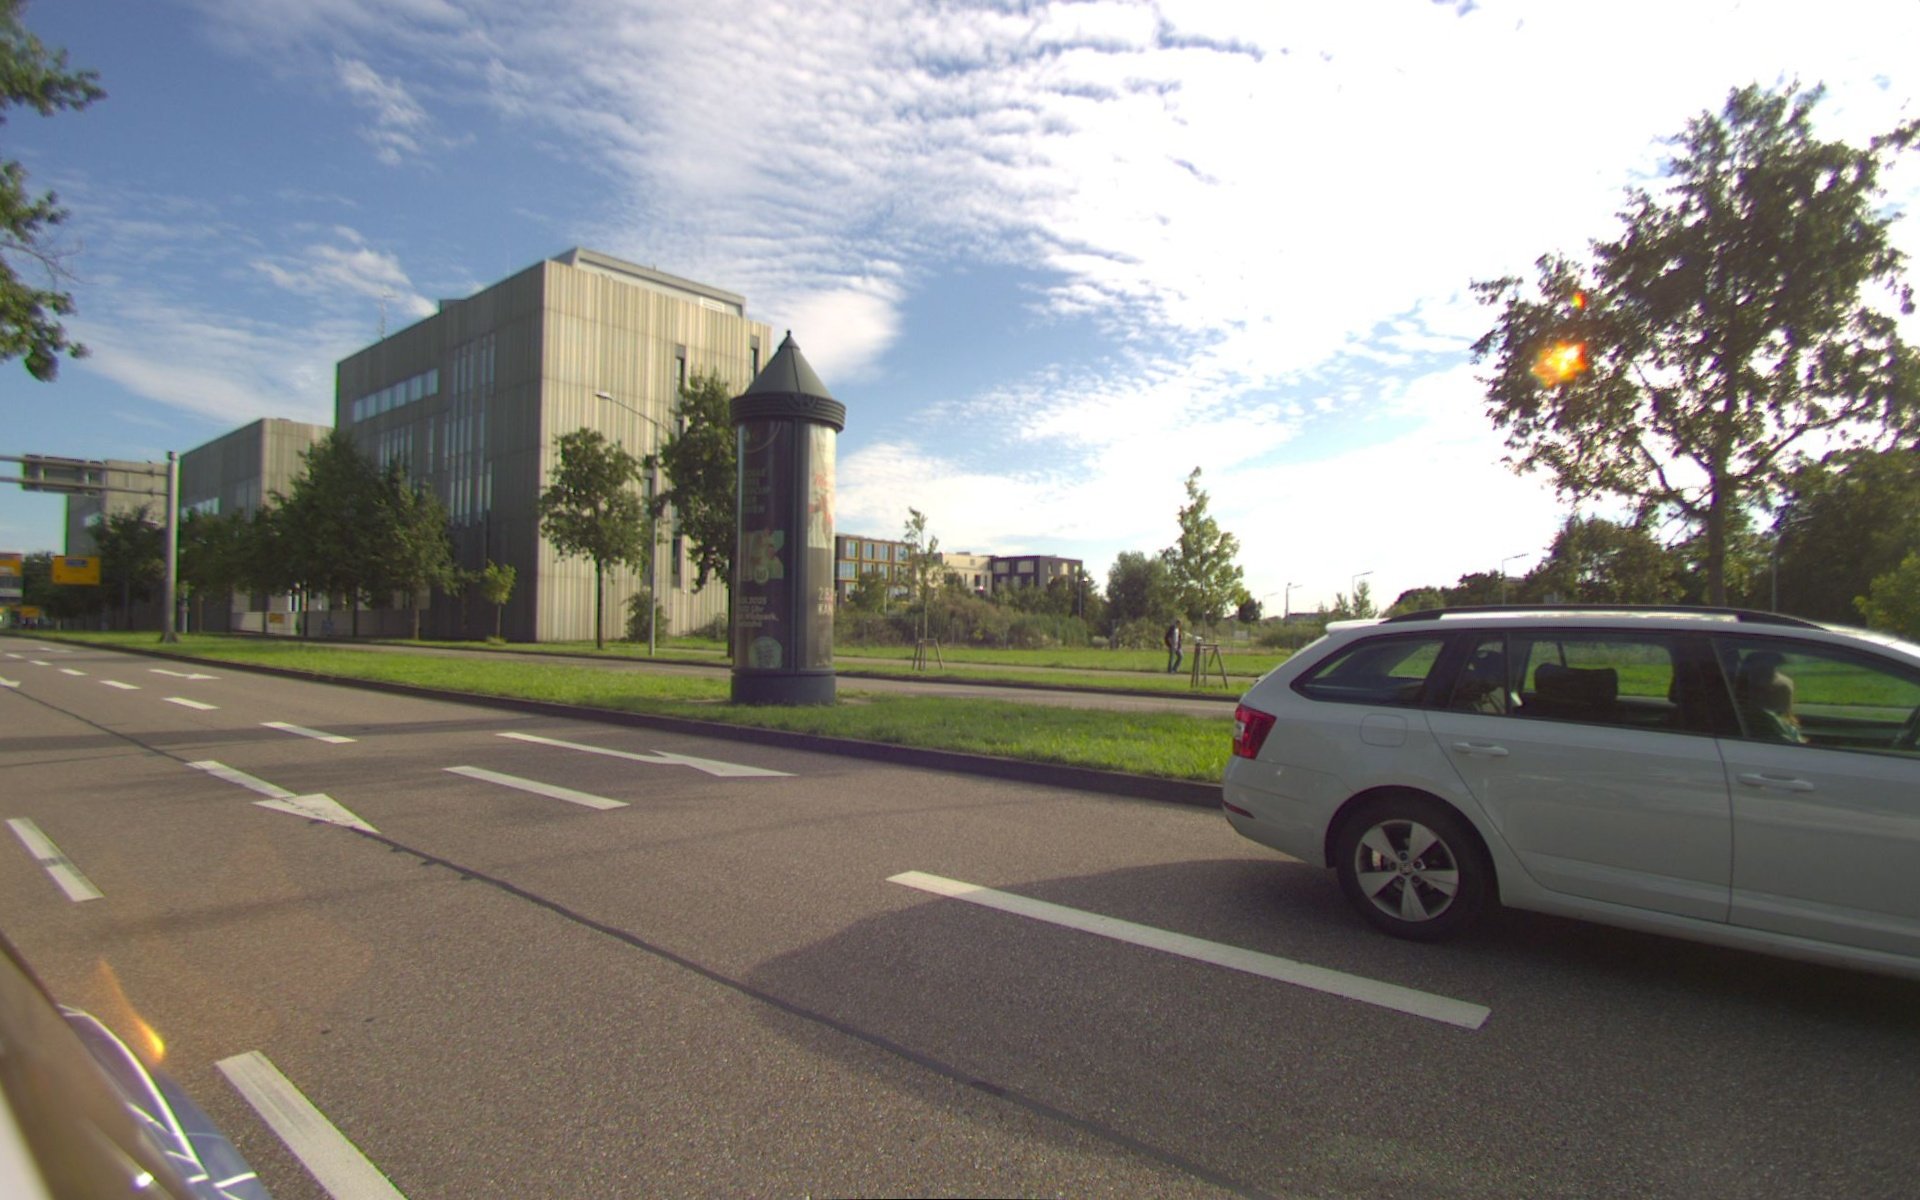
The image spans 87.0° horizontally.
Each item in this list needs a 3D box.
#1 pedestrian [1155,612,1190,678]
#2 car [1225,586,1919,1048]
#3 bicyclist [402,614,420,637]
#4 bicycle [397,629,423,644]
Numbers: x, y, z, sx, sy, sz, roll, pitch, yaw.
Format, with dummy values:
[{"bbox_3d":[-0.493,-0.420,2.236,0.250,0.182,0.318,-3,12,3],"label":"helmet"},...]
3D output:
[{"bbox_3d":[6.651,1.405,31.658,0.867,2.029,0.667,-1,-3,41],"label":"pedestrian"},{"bbox_3d":[3.526,0.721,4.102,4.479,1.510,1.681,-1,-1,41],"label":"car"},{"bbox_3d":[-37.130,1.696,68.441,0.989,1.537,0.698,-1,-3,41],"label":"bicyclist"},{"bbox_3d":[-37.219,2.476,68.466,1.910,0.989,0.885,-1,-3,41],"label":"bicycle"}]
